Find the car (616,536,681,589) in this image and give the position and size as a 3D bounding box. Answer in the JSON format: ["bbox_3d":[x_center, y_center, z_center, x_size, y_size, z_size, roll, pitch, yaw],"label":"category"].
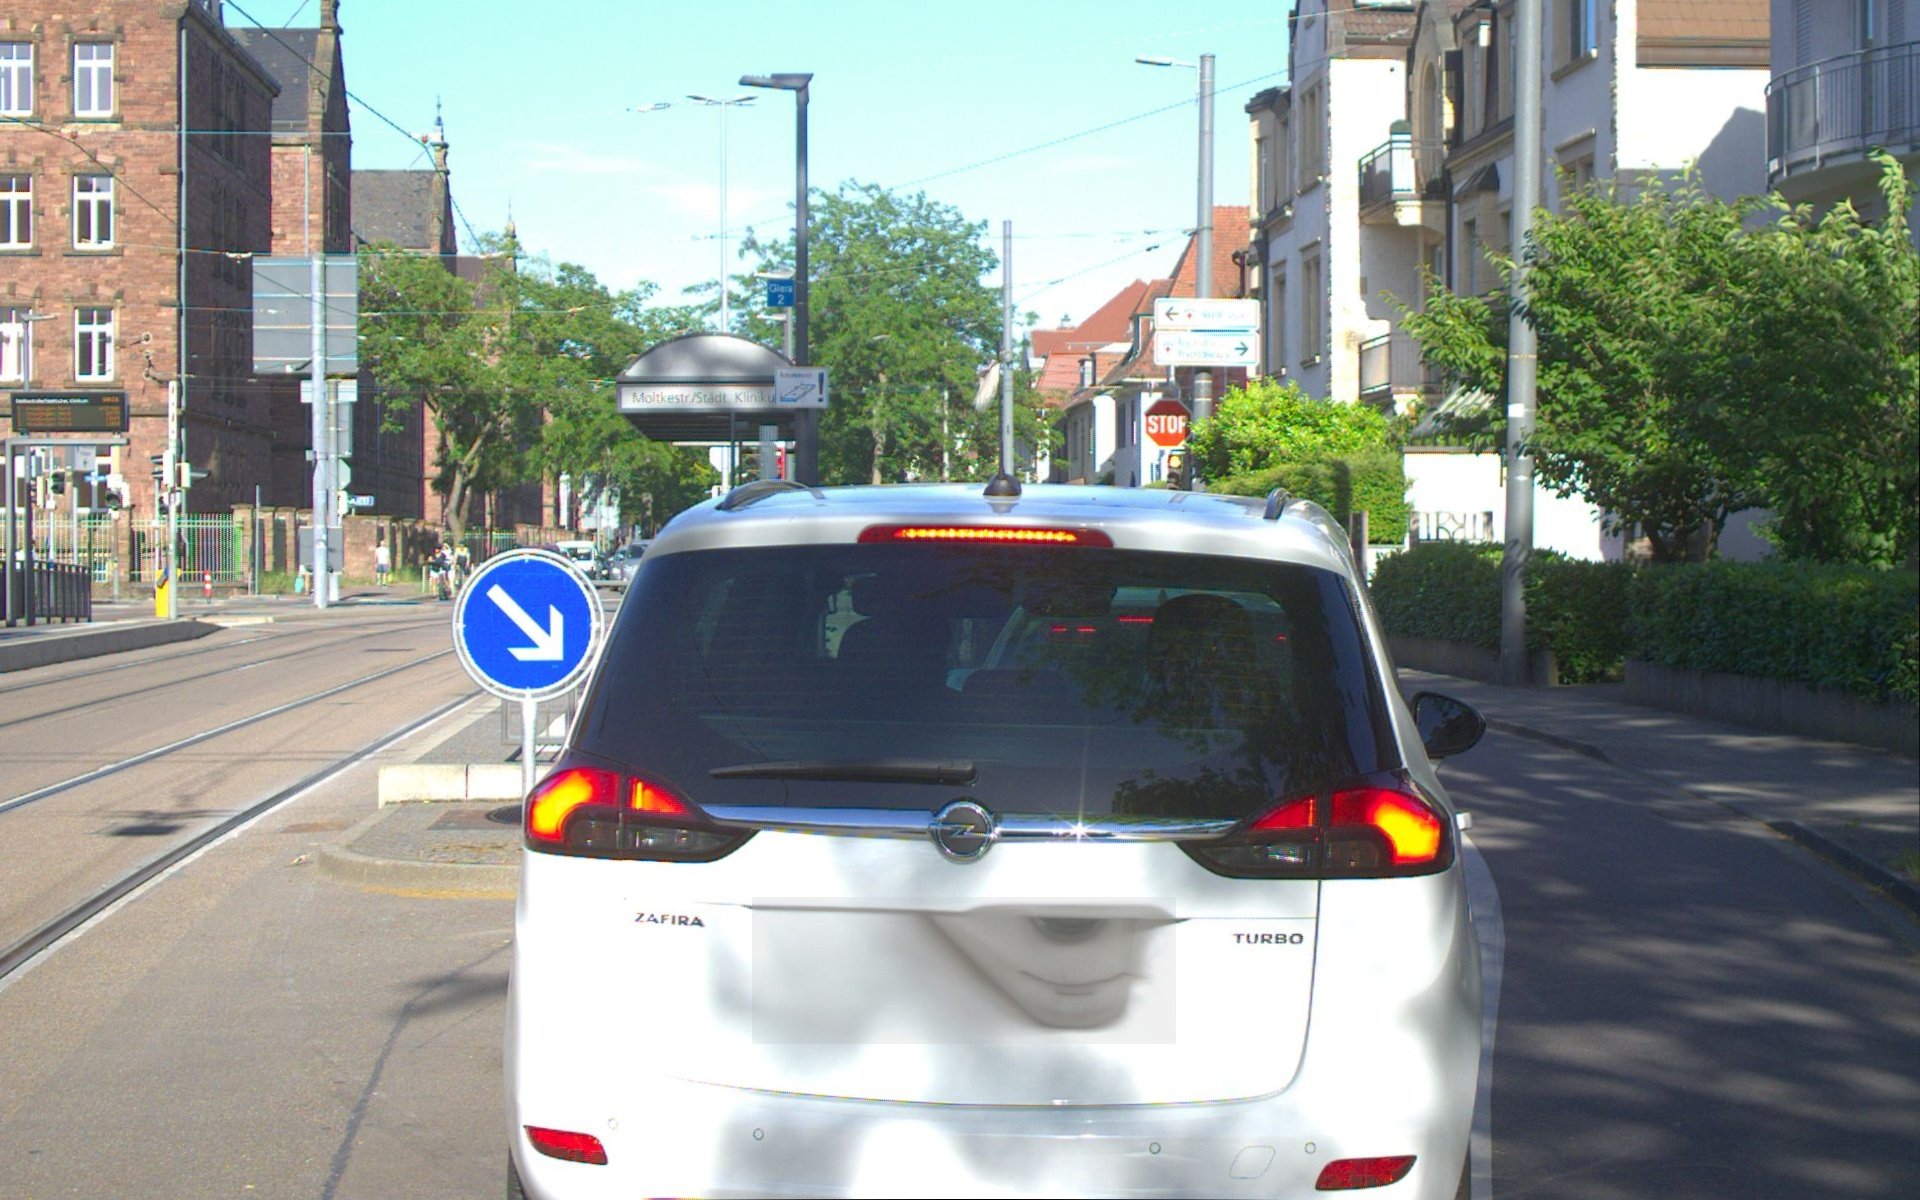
[{"bbox_3d":[-9.721,-1.195,107.317,1.993,1.623,4.001,0,1,-5],"label":"car"}]

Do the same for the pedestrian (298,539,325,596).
[{"bbox_3d":[-19.579,-0.979,103.808,0.734,1.708,0.706,1,0,-8],"label":"pedestrian"}]

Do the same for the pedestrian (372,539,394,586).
[{"bbox_3d":[-21.251,-1.369,126.563,0.734,1.708,0.754,1,0,-6],"label":"pedestrian"}]

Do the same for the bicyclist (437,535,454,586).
[{"bbox_3d":[-15.460,-1.190,103.291,0.444,1.548,0.743,0,1,-4],"label":"bicyclist"}]

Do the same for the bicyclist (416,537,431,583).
[{"bbox_3d":[-17.965,-1.344,115.105,0.444,1.548,0.496,0,1,-4],"label":"bicyclist"}]

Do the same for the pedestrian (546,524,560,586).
[{"bbox_3d":[-13.293,-1.479,112.256,0.444,2.007,0.496,0,1,-4],"label":"pedestrian"}]

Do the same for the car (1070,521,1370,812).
[{"bbox_3d":[1.490,0.329,20.833,1.637,1.595,3.854,0,1,2],"label":"car"}]

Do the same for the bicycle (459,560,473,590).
[{"bbox_3d":[-15.682,-0.786,109.173,0.344,0.946,0.997,1,0,-4],"label":"bicycle"}]

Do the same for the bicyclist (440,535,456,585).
[{"bbox_3d":[-15.878,-1.228,106.574,0.444,1.548,0.496,0,1,-4],"label":"bicyclist"}]

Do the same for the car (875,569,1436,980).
[{"bbox_3d":[0.741,0.588,13.987,1.953,1.392,4.000,0,1,2],"label":"car"}]

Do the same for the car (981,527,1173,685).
[{"bbox_3d":[1.176,0.023,36.184,1.830,1.574,4.010,0,1,-1],"label":"car"}]

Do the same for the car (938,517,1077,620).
[{"bbox_3d":[0.670,-0.491,51.765,1.993,1.497,4.000,0,1,-1],"label":"car"}]

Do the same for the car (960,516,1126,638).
[{"bbox_3d":[1.022,-0.321,44.304,1.993,1.497,4.000,0,1,-1],"label":"car"}]

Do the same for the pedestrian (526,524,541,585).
[{"bbox_3d":[-13.891,-1.484,111.970,0.444,2.007,0.496,0,1,-4],"label":"pedestrian"}]

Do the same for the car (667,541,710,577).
[{"bbox_3d":[-12.606,-1.901,159.454,1.993,1.623,3.989,0,1,-5],"label":"car"}]

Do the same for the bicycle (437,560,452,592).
[{"bbox_3d":[-15.469,-0.722,103.091,0.344,0.946,1.160,1,0,-4],"label":"bicycle"}]

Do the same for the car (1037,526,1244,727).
[{"bbox_3d":[1.492,0.177,29.260,1.637,1.595,3.854,0,1,2],"label":"car"}]

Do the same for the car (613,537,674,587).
[{"bbox_3d":[-10.517,-1.278,114.424,1.993,1.623,4.001,0,1,-5],"label":"car"}]

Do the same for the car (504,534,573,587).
[{"bbox_3d":[-13.101,-1.232,107.095,1.993,1.623,4.001,0,1,-5],"label":"car"}]

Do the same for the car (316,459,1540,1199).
[{"bbox_3d":[0.131,0.582,7.607,1.994,1.639,3.992,1,1,6],"label":"car"}]

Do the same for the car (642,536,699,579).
[{"bbox_3d":[-11.127,-1.652,132.348,1.993,1.623,4.001,0,1,-2],"label":"car"}]

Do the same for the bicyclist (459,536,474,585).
[{"bbox_3d":[-15.673,-1.251,109.158,0.444,1.548,0.496,0,1,-4],"label":"bicyclist"}]

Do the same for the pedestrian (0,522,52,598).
[{"bbox_3d":[-20.730,-0.884,76.273,0.895,1.678,1.029,1,0,-1],"label":"pedestrian"}]

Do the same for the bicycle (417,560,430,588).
[{"bbox_3d":[-17.970,-0.878,115.148,0.344,0.946,0.997,1,0,-4],"label":"bicycle"}]
